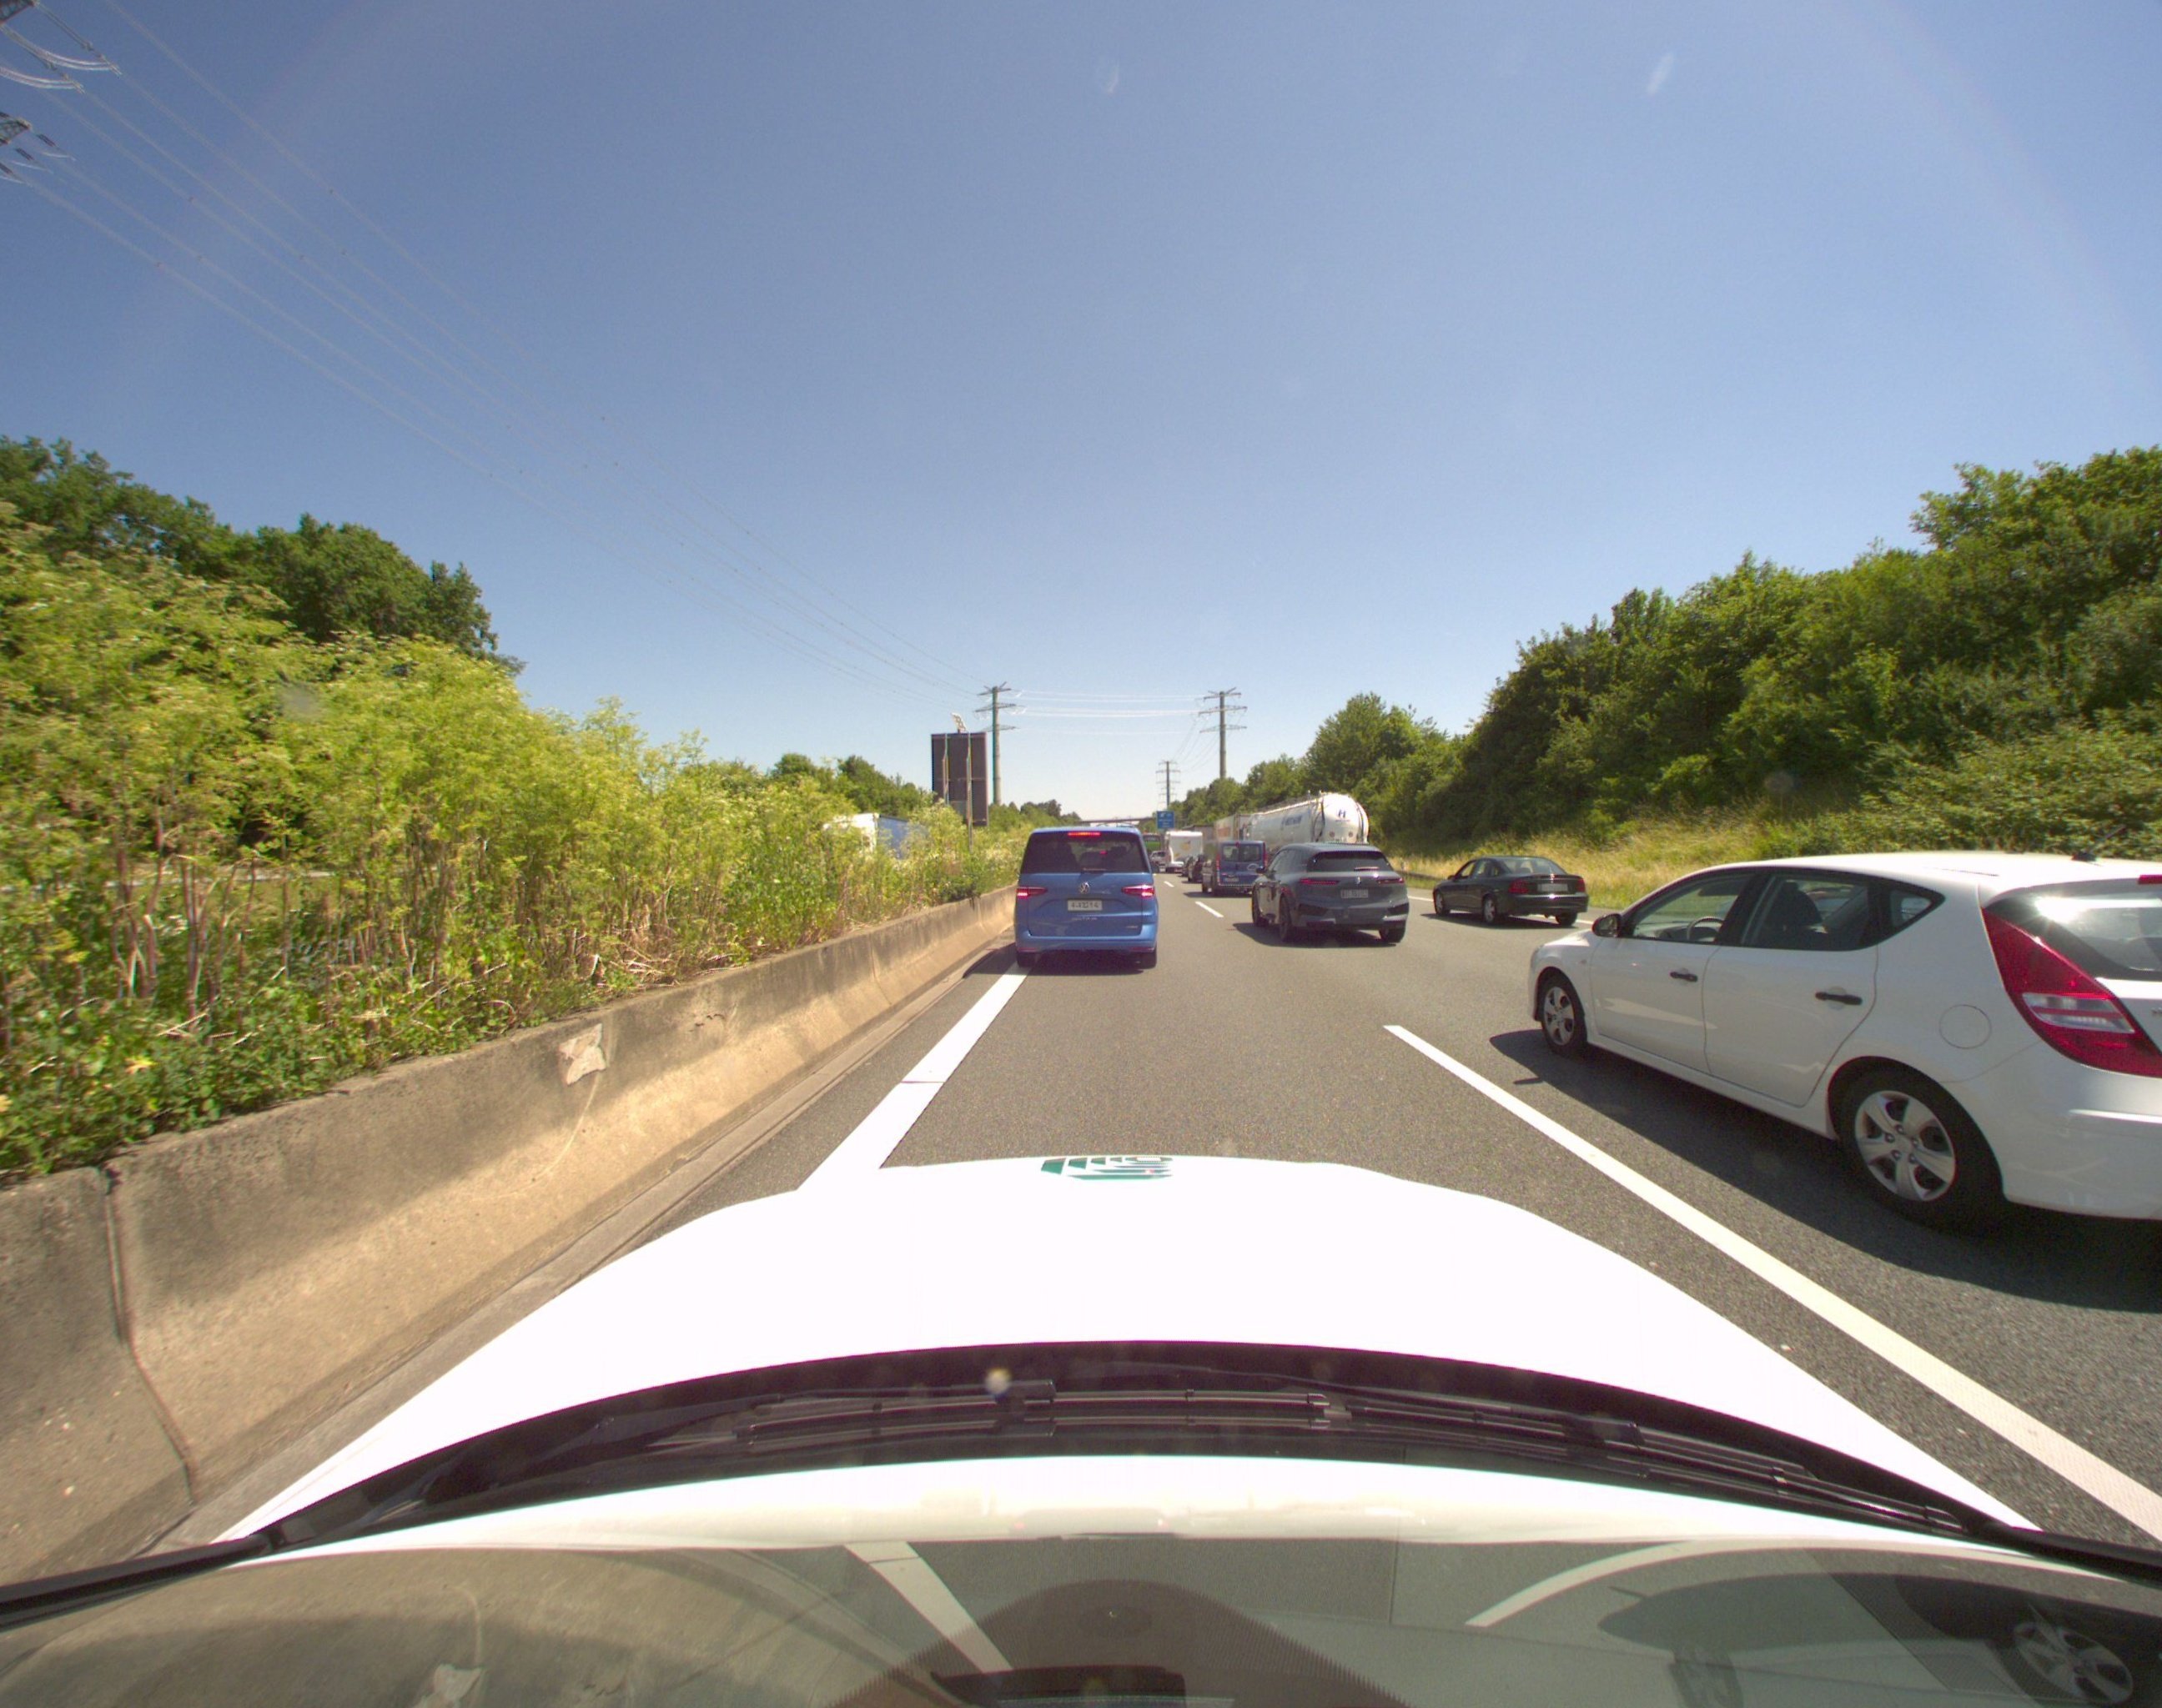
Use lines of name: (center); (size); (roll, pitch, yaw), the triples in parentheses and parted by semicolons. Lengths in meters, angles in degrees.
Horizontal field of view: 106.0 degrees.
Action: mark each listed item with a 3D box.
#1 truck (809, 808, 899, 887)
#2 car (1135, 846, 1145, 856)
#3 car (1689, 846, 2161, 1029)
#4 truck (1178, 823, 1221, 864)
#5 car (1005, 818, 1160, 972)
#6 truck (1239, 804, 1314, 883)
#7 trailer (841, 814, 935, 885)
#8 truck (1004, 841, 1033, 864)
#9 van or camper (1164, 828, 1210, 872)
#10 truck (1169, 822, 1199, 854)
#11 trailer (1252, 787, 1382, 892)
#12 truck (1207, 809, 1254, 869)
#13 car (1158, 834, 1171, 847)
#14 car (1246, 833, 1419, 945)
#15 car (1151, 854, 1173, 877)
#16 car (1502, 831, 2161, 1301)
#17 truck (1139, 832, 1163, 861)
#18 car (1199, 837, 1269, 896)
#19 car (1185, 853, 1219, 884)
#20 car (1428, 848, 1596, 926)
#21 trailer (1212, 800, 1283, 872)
truck: (-12.998, -0.315, 47.299); (2.999, 4.228, 6.691); (-1, -1, 3)
car: (12.999, -0.565, 179.471); (1.986, 2.126, 4.002); (-1, 0, 2)
car: (8.720, 0.661, 8.588); (1.724, 1.443, 4.031); (-1, 0, 2)
truck: (12.015, -0.913, 83.871); (2.993, 3.766, 15.726); (-1, 0, 3)
car: (0.111, 0.500, 12.048); (1.912, 1.886, 4.003); (0, 0, 3)
truck: (10.234, -0.524, 43.201); (2.782, 3.836, 5.575); (-1, 0, 2)
trailer: (-12.565, -0.243, 54.414); (2.999, 4.228, 10.990); (-1, 0, 3)
truck: (-9.631, -0.232, 126.481); (2.753, 3.288, 11.831); (-1, 0, 4)
van or camper: (7.762, -0.240, 60.658); (2.944, 3.022, 7.110); (-1, 0, 4)
truck: (13.222, -1.909, 105.444); (2.883, 3.766, 13.356); (-1, 0, 3)
trailer: (9.963, -0.536, 35.953); (2.750, 3.845, 11.492); (-1, 0, 2)
truck: (11.775, -1.125, 64.617); (2.901, 4.469, 5.145); (-1, 0, 2)
car: (14.392, -2.330, 141.190); (1.985, 2.014, 4.003); (-1, 0, 3)
car: (4.437, 0.584, 15.162); (1.991, 1.715, 4.629); (-1, -1, 3)
car: (7.453, 1.064, 74.991); (1.828, 1.998, 4.004); (-2, -1, 4)
car: (4.222, 0.680, 4.556); (1.809, 1.485, 4.003); (-1, -1, 3)
truck: (9.464, -0.944, 111.108); (2.883, 3.766, 10.149); (-1, 0, 3)
car: (5.483, 0.450, 29.636); (1.915, 1.925, 4.239); (-2, -1, 3)
car: (6.169, 0.734, 41.734); (1.355, 1.420, 3.887); (-2, -1, 3)
car: (9.052, 0.652, 17.490); (1.634, 1.416, 3.992); (-2, -1, 3)
trailer: (11.520, -1.114, 57.704); (2.901, 4.469, 12.160); (-1, 0, 2)
